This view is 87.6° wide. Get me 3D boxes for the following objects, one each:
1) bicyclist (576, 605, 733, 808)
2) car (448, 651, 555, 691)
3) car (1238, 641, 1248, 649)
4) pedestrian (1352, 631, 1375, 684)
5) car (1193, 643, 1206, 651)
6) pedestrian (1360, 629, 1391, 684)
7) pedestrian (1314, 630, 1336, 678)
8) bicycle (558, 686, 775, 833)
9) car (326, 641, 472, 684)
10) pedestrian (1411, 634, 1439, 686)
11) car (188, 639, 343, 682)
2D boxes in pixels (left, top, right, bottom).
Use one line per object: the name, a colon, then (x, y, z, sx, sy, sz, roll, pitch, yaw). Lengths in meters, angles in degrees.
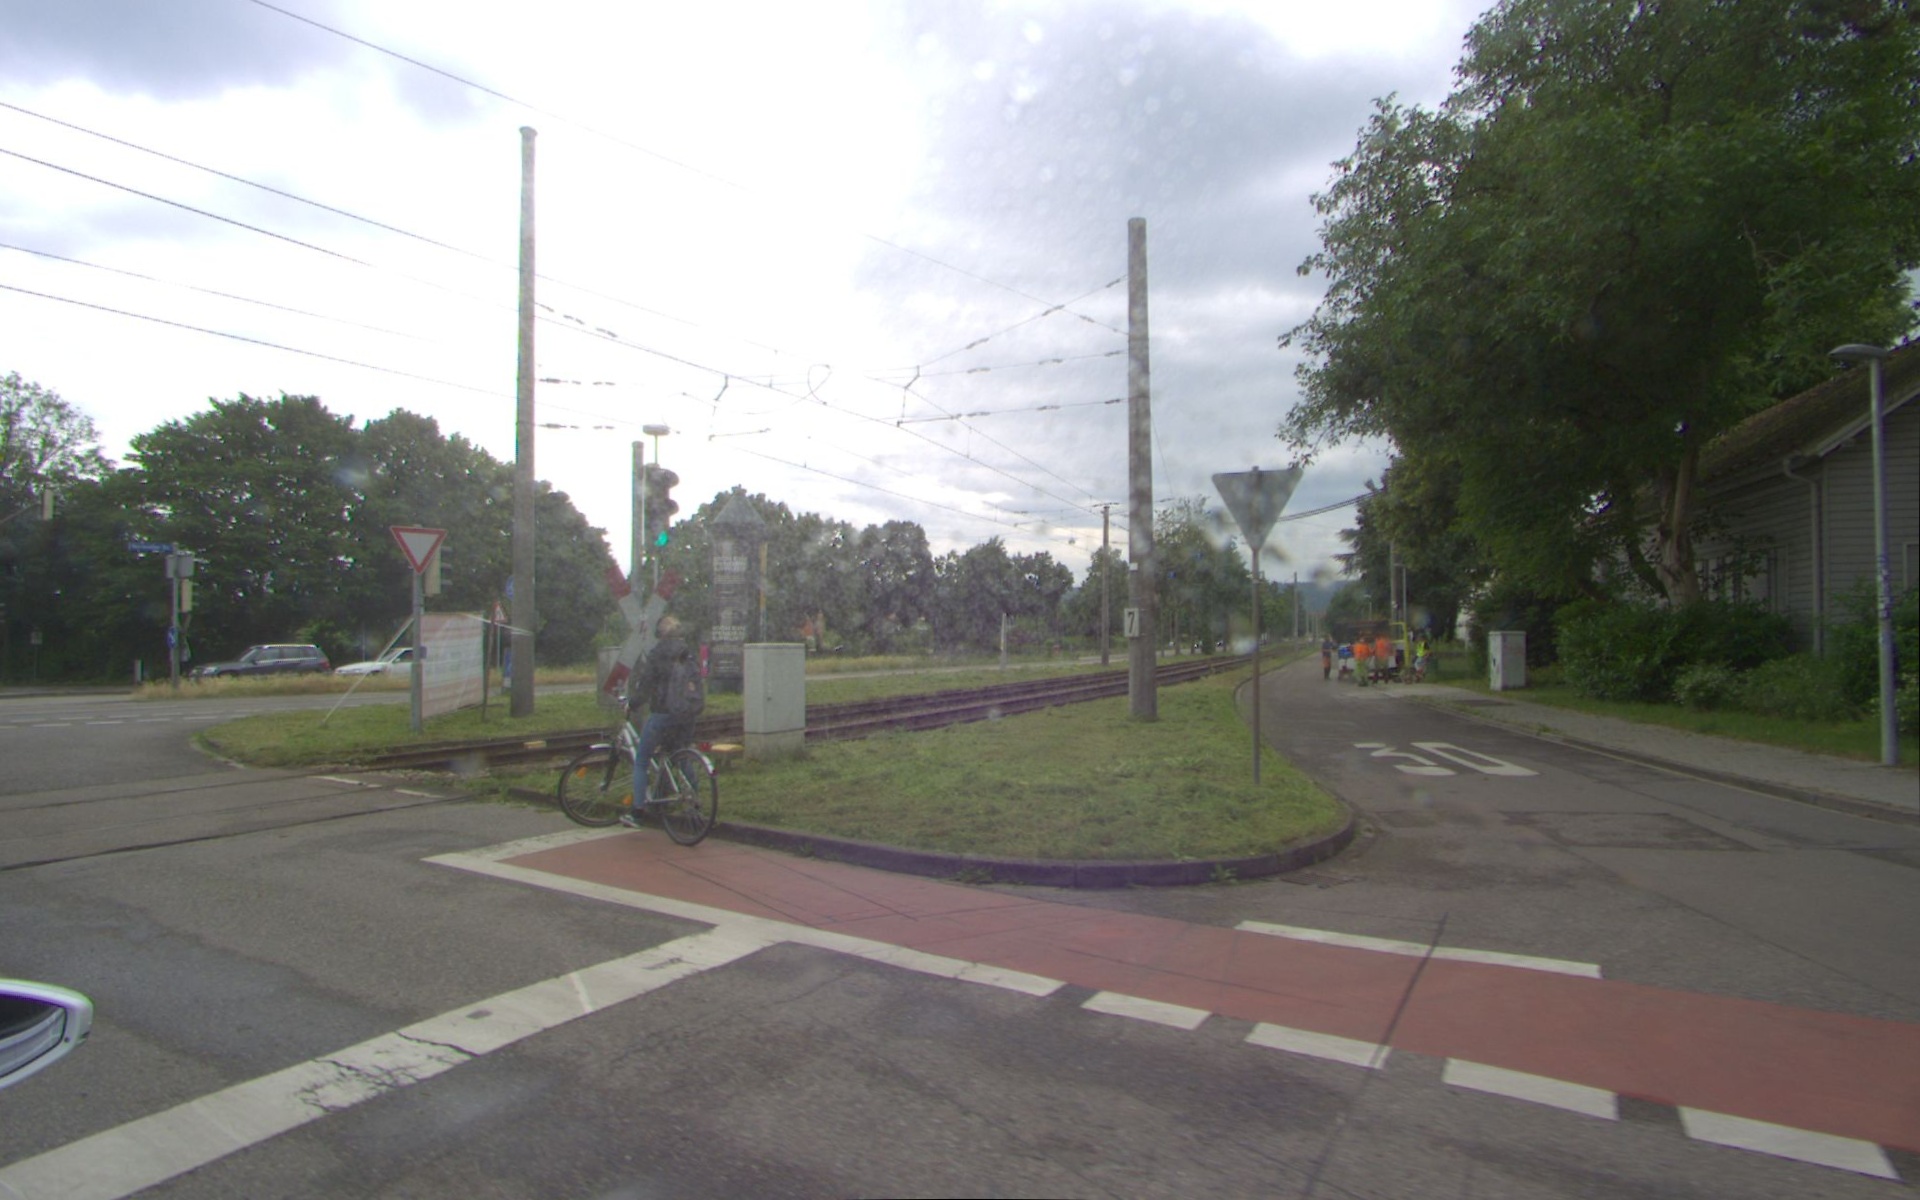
bicyclist: (-2.334, 0.803, 7.674, 0.947, 1.441, 0.621, -2, -6, 32)
car: (-20.210, 3.094, 44.259, 1.851, 1.638, 3.982, -2, -3, 31)
car: (62.968, 9.992, 222.685, 1.964, 1.829, 3.997, -1, -2, 16)
pedestrian: (13.738, 1.948, 34.093, 0.624, 1.784, 0.575, -1, -1, 12)
car: (45.839, 9.013, 191.470, 1.635, 1.549, 3.878, -1, -2, 26)
pedestrian: (14.378, 1.941, 34.642, 0.862, 1.878, 0.676, 0, -1, 34)
pedestrian: (14.530, 2.127, 39.855, 0.757, 1.892, 0.604, -1, -1, 17)
bicycle: (-2.305, 1.178, 7.728, 2.001, 0.993, 0.382, -2, -2, 32)
car: (-19.285, 2.105, 34.581, 1.624, 1.374, 4.129, -1, -3, 33)
pedestrian: (16.950, 2.193, 36.505, 0.598, 1.863, 0.712, 0, -1, -13)
car: (-26.065, 2.240, 37.735, 1.820, 1.523, 4.457, -1, -3, 33)
